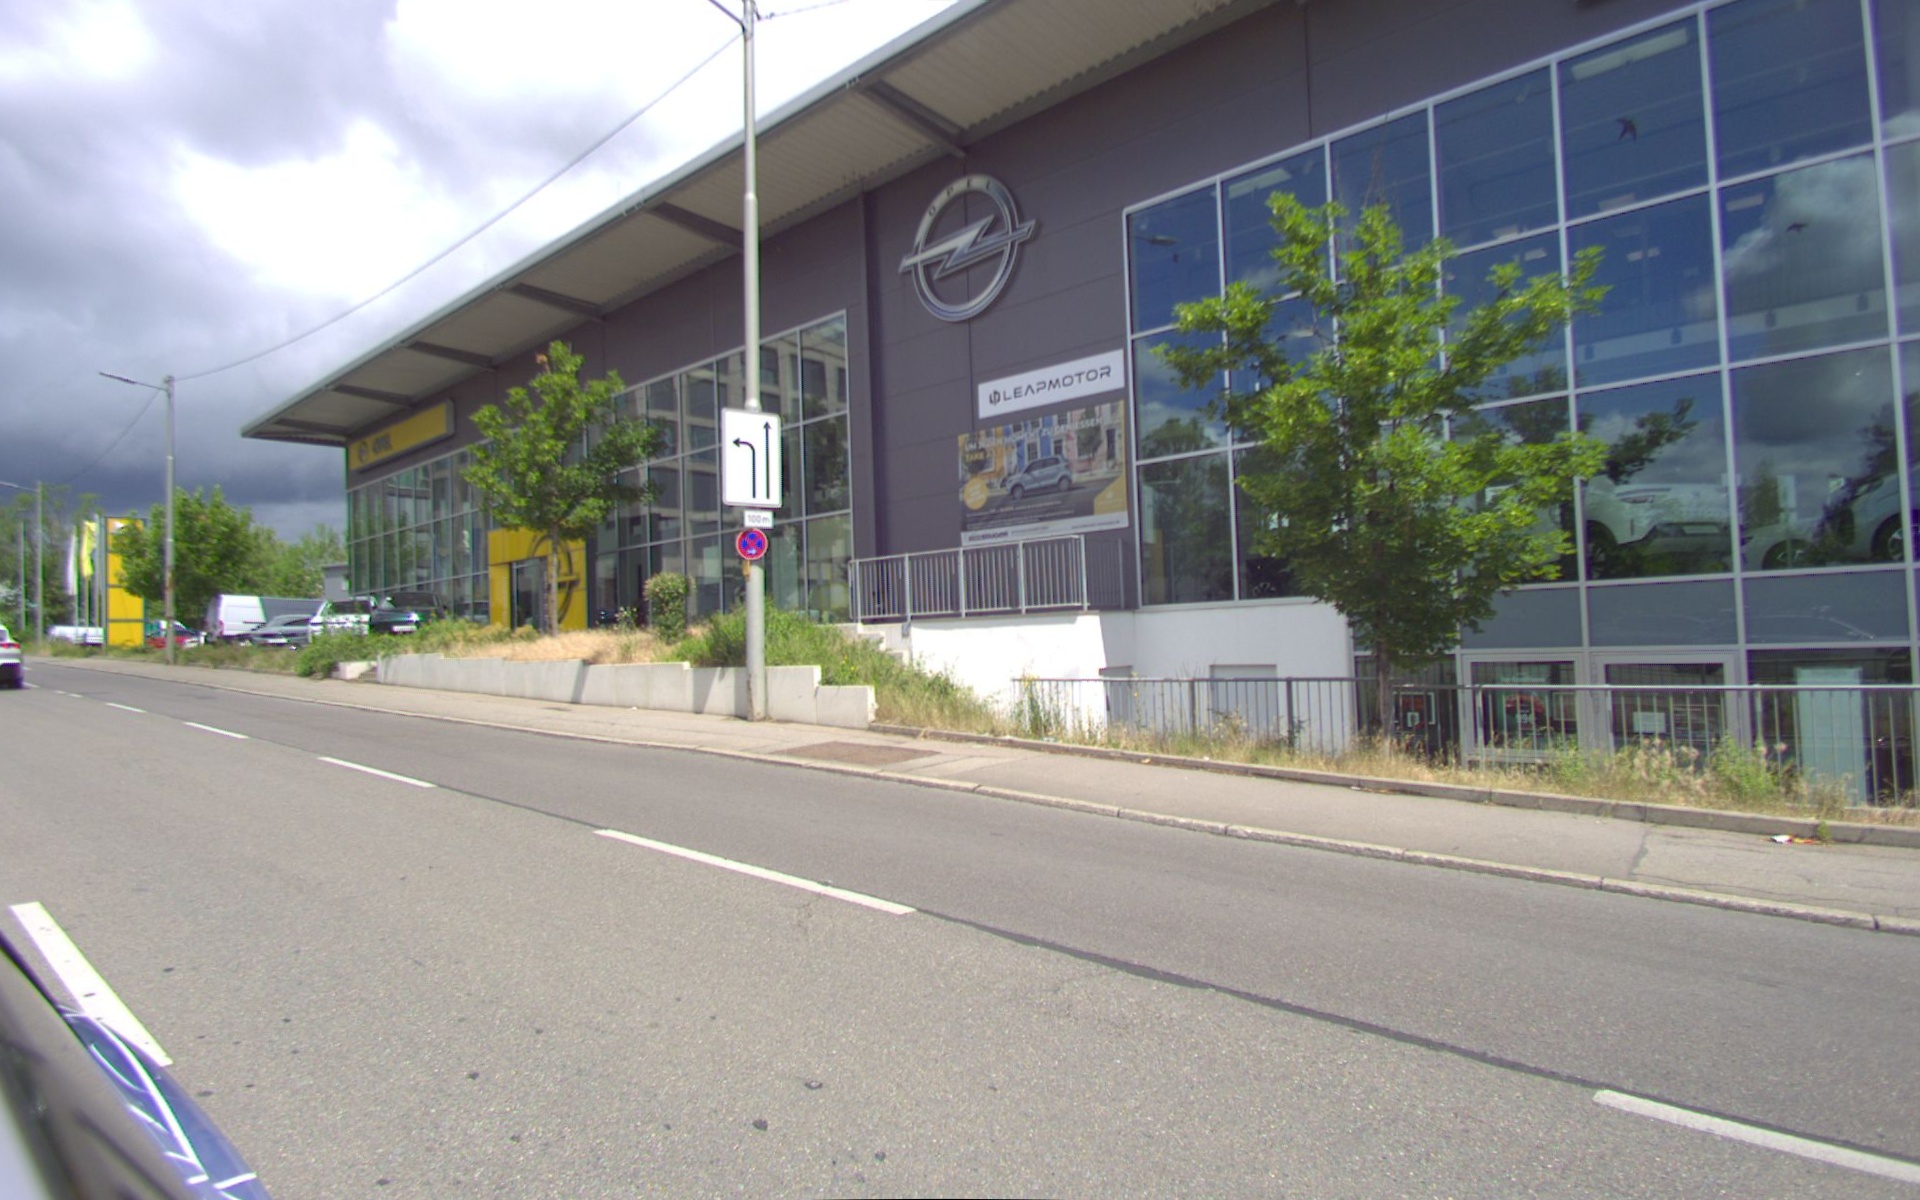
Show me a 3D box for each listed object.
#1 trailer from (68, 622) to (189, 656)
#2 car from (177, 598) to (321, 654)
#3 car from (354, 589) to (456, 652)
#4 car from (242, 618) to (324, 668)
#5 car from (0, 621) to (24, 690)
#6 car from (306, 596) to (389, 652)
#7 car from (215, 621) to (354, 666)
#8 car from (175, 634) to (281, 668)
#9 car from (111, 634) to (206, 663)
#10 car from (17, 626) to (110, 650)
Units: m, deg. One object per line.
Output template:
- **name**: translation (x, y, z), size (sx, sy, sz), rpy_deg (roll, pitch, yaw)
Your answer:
- **trailer**: translation (-45.310, 2.114, 55.241), size (2.092, 1.765, 4.776), rpy_deg (-2, -2, 37)
- **car**: translation (-29.345, 1.061, 41.889), size (2.177, 2.211, 4.475), rpy_deg (-1, -1, 39)
- **car**: translation (-15.576, 0.554, 28.604), size (1.790, 1.625, 4.121), rpy_deg (-1, -1, -18)
- **car**: translation (-23.492, 1.465, 35.253), size (1.767, 1.625, 4.122), rpy_deg (1, -2, -26)
- **car**: translation (-23.795, 1.278, 23.922), size (4.301, 1.564, 1.810), rpy_deg (-1, -2, 39)
- **car**: translation (-19.182, 0.745, 31.842), size (1.767, 1.625, 4.122), rpy_deg (0, -1, -25)
- **car**: translation (-25.729, 1.643, 38.676), size (1.792, 1.625, 4.064), rpy_deg (-2, -2, 32)
- **car**: translation (-35.523, 2.450, 49.165), size (1.559, 1.539, 3.897), rpy_deg (-2, -2, 38)
- **car**: translation (-42.016, 2.531, 53.101), size (1.814, 1.420, 3.621), rpy_deg (-2, -2, 42)
- **car**: translation (-57.591, 2.442, 65.081), size (2.093, 1.493, 4.200), rpy_deg (-2, -2, 38)
